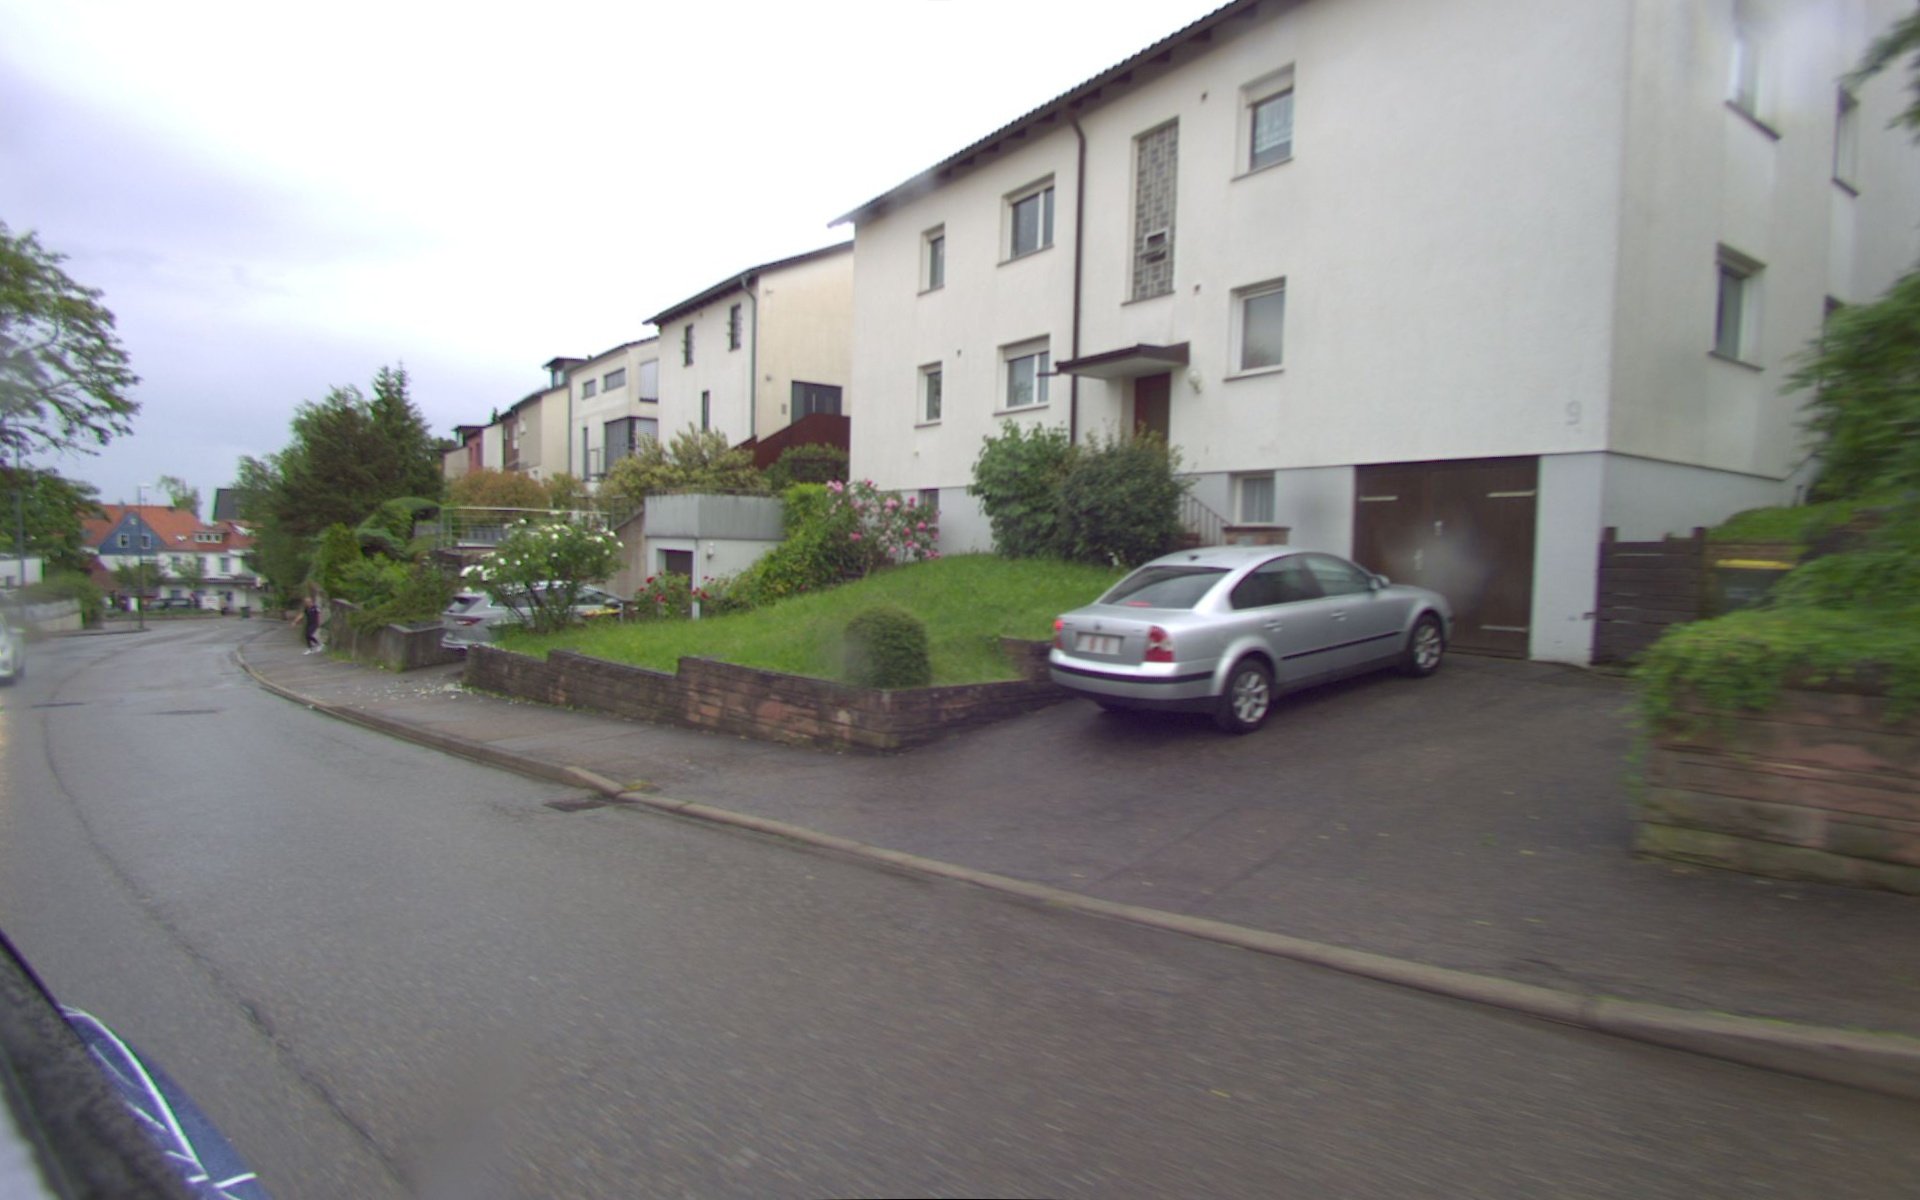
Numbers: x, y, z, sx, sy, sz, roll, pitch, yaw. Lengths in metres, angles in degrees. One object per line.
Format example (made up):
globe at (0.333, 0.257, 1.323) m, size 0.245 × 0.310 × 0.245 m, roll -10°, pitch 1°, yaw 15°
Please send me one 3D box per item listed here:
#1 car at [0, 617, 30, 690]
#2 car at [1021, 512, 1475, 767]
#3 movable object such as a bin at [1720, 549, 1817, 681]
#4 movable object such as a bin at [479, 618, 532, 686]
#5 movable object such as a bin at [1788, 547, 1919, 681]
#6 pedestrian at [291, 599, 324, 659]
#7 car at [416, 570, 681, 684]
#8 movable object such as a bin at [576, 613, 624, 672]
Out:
car at (-20.434, 1.071, 20.704) m, size 1.835 × 1.388 × 4.188 m, roll -1°, pitch 0°, yaw -39°
car at (2.823, 0.191, 9.500) m, size 4.199 × 1.441 × 1.771 m, roll -12°, pitch 7°, yaw -35°
movable object such as a bin at (7.906, 0.142, 9.902) m, size 0.676 × 1.238 × 0.572 m, roll -1°, pitch 0°, yaw -36°
movable object such as a bin at (-7.917, 0.890, 17.629) m, size 0.531 × 1.083 × 0.744 m, roll -9°, pitch 5°, yaw -42°
movable object such as a bin at (8.301, 0.119, 9.400) m, size 0.785 × 1.179 × 0.684 m, roll -1°, pitch 0°, yaw -29°
pedestrian at (-18.731, 0.828, 29.067) m, size 0.648 × 1.661 × 0.733 m, roll -1°, pitch -1°, yaw -43°
car at (-8.242, 0.445, 20.517) m, size 4.456 × 1.625 × 1.935 m, roll -9°, pitch 6°, yaw -40°
movable object such as a bin at (-6.672, 0.778, 18.746) m, size 0.531 × 1.027 × 0.711 m, roll -7°, pitch 4°, yaw -42°
